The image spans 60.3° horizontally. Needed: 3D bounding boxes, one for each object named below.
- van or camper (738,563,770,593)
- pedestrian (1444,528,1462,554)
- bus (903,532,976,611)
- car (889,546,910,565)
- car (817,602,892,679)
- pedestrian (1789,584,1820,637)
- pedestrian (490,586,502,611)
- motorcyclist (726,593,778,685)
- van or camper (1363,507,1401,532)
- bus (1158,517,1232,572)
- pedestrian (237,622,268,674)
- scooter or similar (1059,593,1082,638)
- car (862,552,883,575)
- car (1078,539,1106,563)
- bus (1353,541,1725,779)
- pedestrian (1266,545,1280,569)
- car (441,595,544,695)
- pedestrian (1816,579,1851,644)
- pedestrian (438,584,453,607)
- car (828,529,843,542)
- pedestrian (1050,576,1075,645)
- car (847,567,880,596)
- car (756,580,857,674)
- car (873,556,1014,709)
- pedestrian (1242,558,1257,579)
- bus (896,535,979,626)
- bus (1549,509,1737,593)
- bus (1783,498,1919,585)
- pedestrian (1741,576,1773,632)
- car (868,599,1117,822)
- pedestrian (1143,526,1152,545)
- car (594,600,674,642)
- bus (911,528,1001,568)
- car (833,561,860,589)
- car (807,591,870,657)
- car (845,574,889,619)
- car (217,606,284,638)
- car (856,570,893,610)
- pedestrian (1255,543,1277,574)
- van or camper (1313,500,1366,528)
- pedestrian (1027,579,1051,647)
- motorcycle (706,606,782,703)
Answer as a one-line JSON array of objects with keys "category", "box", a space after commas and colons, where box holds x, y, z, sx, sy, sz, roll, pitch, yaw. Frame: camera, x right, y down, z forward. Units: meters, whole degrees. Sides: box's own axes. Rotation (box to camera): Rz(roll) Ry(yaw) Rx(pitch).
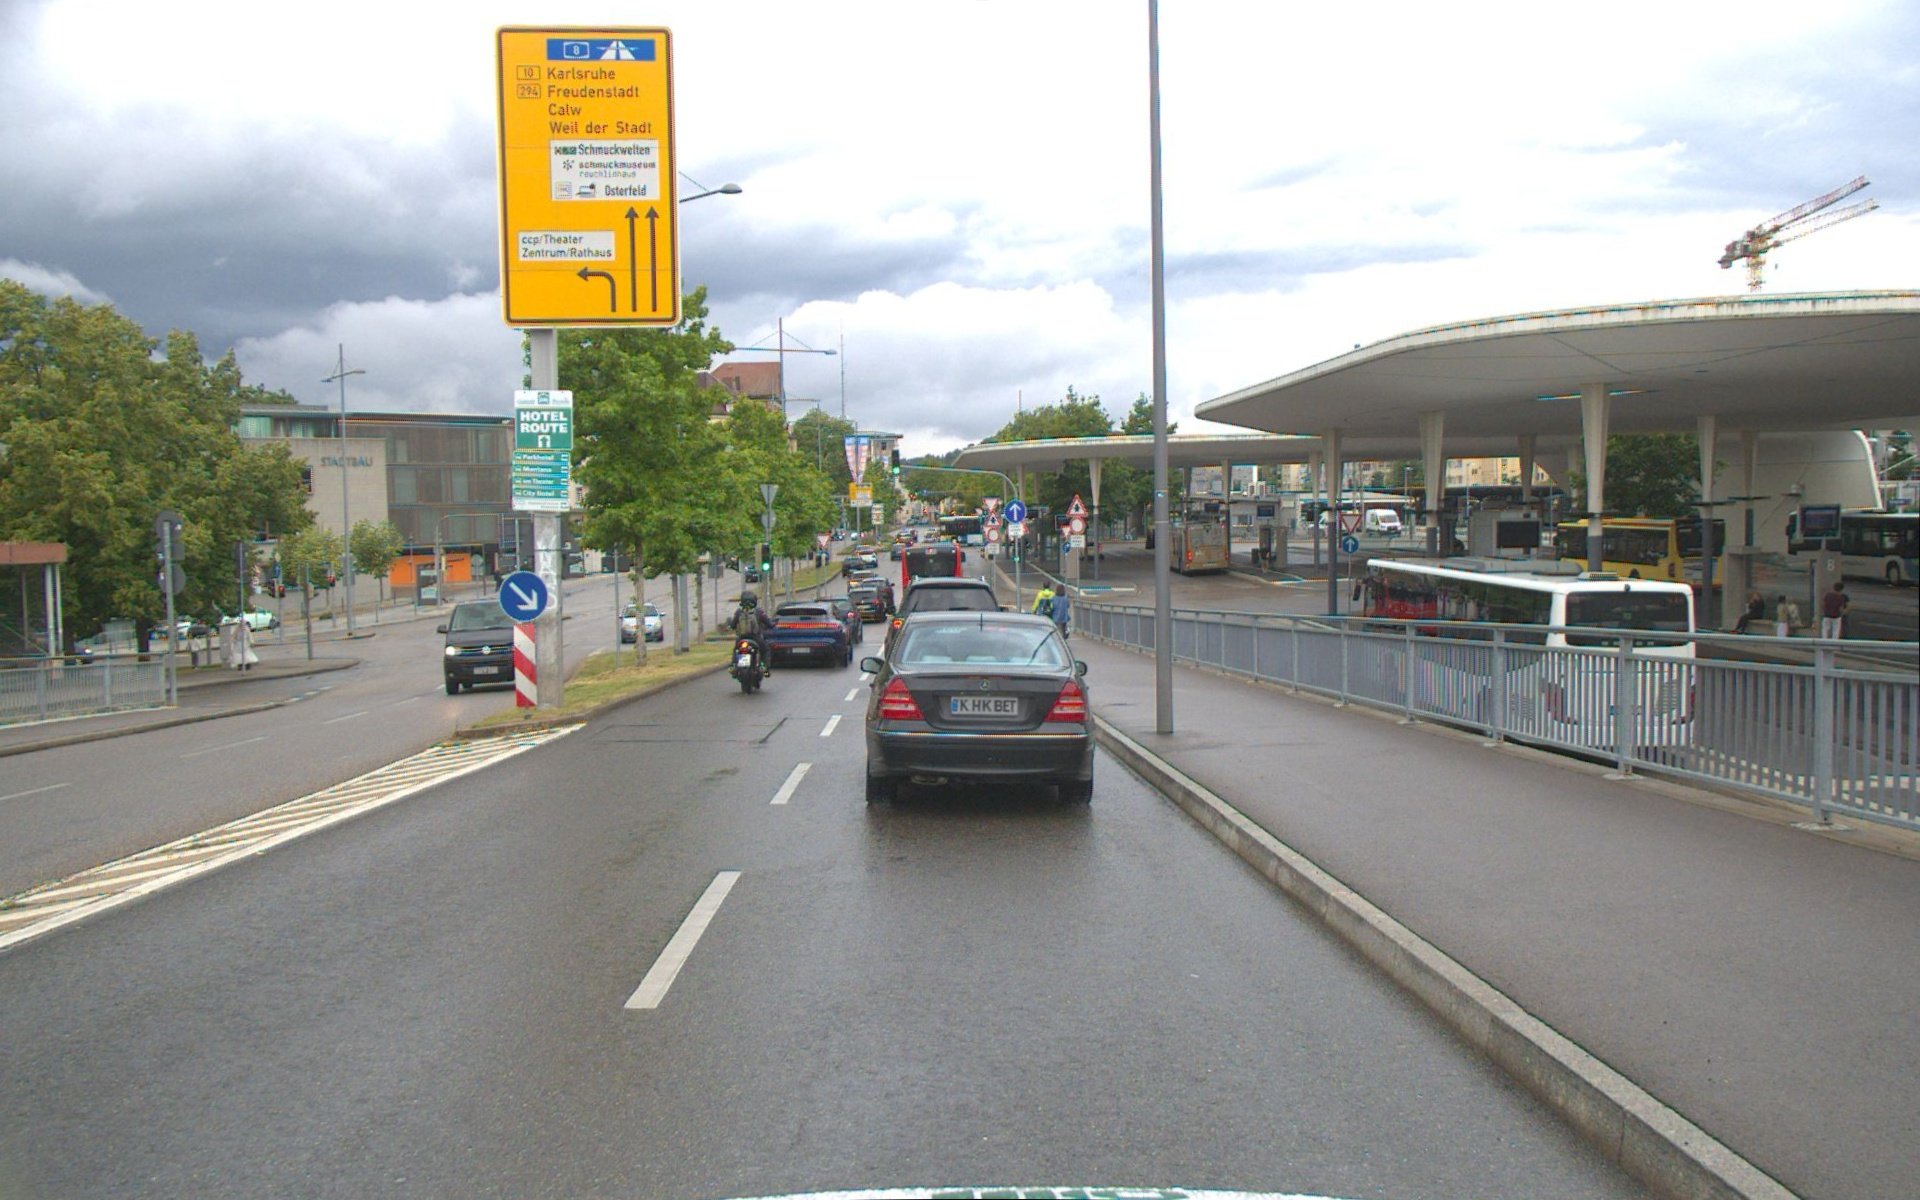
[{"category": "van or camper", "box": [-16.093, -1.694, 128.919, 2.176, 2.108, 5.272, -4, 0, -10]}, {"category": "pedestrian", "box": [31.481, -3.758, 105.664, 0.779, 1.613, 0.907, -1, 2, -7]}, {"category": "bus", "box": [-0.979, -1.532, 81.989, 3.224, 3.345, 8.852, -3, 3, 0]}, {"category": "car", "box": [-5.587, -4.072, 152.430, 1.828, 1.713, 3.999, 1, 0, -2]}, {"category": "car", "box": [-2.787, 1.052, 44.445, 1.706, 1.593, 3.872, -5, 4, -1]}, {"category": "pedestrian", "box": [23.581, 0.290, 46.193, 0.557, 1.417, 0.558, -3, 3, 5]}, {"category": "pedestrian", "box": [-33.316, -0.095, 118.756, 0.464, 1.712, 0.764, -3, 3, 5]}, {"category": "motorcyclist", "box": [-3.279, 0.611, 26.165, 0.628, 1.370, 0.689, -3, 3, 2]}, {"category": "van or camper", "box": [38.645, -7.397, 151.628, 1.953, 2.139, 5.479, 0, 1, -2]}, {"category": "bus", "box": [14.863, -3.645, 105.544, 2.666, 3.095, 12.091, -3, 3, -1]}, {"category": "pedestrian", "box": [-22.604, 1.517, 52.856, 0.639, 1.597, 0.630, -4, 1, -6]}, {"category": "scooter or similar", "box": [3.160, 0.434, 47.412, 0.454, 1.242, 1.859, -3, 0, -2]}, {"category": "car", "box": [-7.327, -3.075, 138.907, 1.608, 1.836, 3.639, 1, 0, -1]}, {"category": "car", "box": [10.416, -3.874, 130.368, 1.677, 1.690, 4.240, -2, 3, -2]}, {"category": "bus", "box": [11.024, 0.783, 33.497, 2.787, 3.419, 12.428, 1, 4, -2]}, {"category": "pedestrian", "box": [19.466, -2.686, 102.843, 0.776, 1.401, 0.634, -2, 3, 16]}, {"category": "car", "box": [-10.203, 0.948, 36.373, 1.813, 2.002, 4.670, -2, 0, -12]}, {"category": "pedestrian", "box": [23.187, 0.292, 43.897, 0.637, 1.682, 0.630, -5, 4, -41]}, {"category": "pedestrian", "box": [-33.038, -0.296, 106.173, 0.665, 1.416, 0.721, -3, 3, -3]}, {"category": "car", "box": [-17.095, -8.875, 227.366, 1.744, 1.593, 3.430, -5, 4, -1]}, {"category": "pedestrian", "box": [2.563, 0.266, 41.416, 0.577, 1.700, 0.580, 0, -2, -2]}, {"category": "car", "box": [-5.777, -1.115, 99.442, 1.828, 1.713, 3.999, 1, 0, -2]}, {"category": "car", "box": [-3.330, 0.529, 36.683, 1.780, 1.597, 4.405, -5, 4, -1]}, {"category": "car", "box": [-0.277, 0.413, 26.625, 1.918, 1.907, 4.874, -5, 4, -1]}, {"category": "pedestrian", "box": [18.410, -2.013, 105.183, 0.776, 1.247, 0.634, -2, 3, 16]}, {"category": "bus", "box": [-0.947, -1.019, 73.413, 3.219, 3.347, 10.881, -3, 3, 0]}, {"category": "bus", "box": [29.933, -2.279, 73.306, 2.733, 3.313, 12.138, -2, 3, -3]}, {"category": "bus", "box": [39.684, -2.636, 71.061, 2.416, 3.312, 11.973, -3, 4, -1]}, {"category": "pedestrian", "box": [23.540, 0.124, 48.881, 0.577, 1.617, 0.677, 1, -1, -5]}, {"category": "car", "box": [0.170, 0.738, 13.207, 1.663, 1.487, 4.302, 0, 0, -1]}, {"category": "pedestrian", "box": [16.076, -5.508, 141.562, 0.568, 1.606, 0.560, 1, -1, 28]}, {"category": "car", "box": [-12.772, 0.808, 64.624, 1.619, 1.473, 3.829, -5, 3, -34]}, {"category": "bus", "box": [-0.526, -5.562, 178.170, 2.821, 4.056, 11.692, -5, 4, -39]}, {"category": "car", "box": [-8.385, -1.834, 122.471, 1.761, 1.940, 3.639, 1, 0, -1]}, {"category": "car", "box": [-3.811, 0.712, 52.196, 1.642, 1.650, 3.872, -5, 4, -1]}, {"category": "car", "box": [-3.905, -0.161, 70.151, 1.544, 1.530, 3.872, -5, 4, 0]}, {"category": "car", "box": [-40.934, 1.267, 95.499, 1.593, 1.521, 3.587, -2, 3, 14]}, {"category": "car", "box": [-4.159, -0.504, 80.534, 1.544, 1.593, 3.872, -5, 4, -1]}, {"category": "pedestrian", "box": [17.640, -2.410, 95.458, 0.709, 1.712, 1.012, -5, 3, -27]}, {"category": "van or camper", "box": [36.204, -8.208, 157.883, 4.515, 2.602, 2.118, 0, 1, -3]}, {"category": "pedestrian", "box": [1.984, 0.321, 41.601, 0.512, 1.699, 0.580, -1, 0, -2]}, {"category": "motorcycle", "box": [-3.354, 0.833, 25.851, 0.776, 1.283, 1.856, -4, 3, 3]}]
